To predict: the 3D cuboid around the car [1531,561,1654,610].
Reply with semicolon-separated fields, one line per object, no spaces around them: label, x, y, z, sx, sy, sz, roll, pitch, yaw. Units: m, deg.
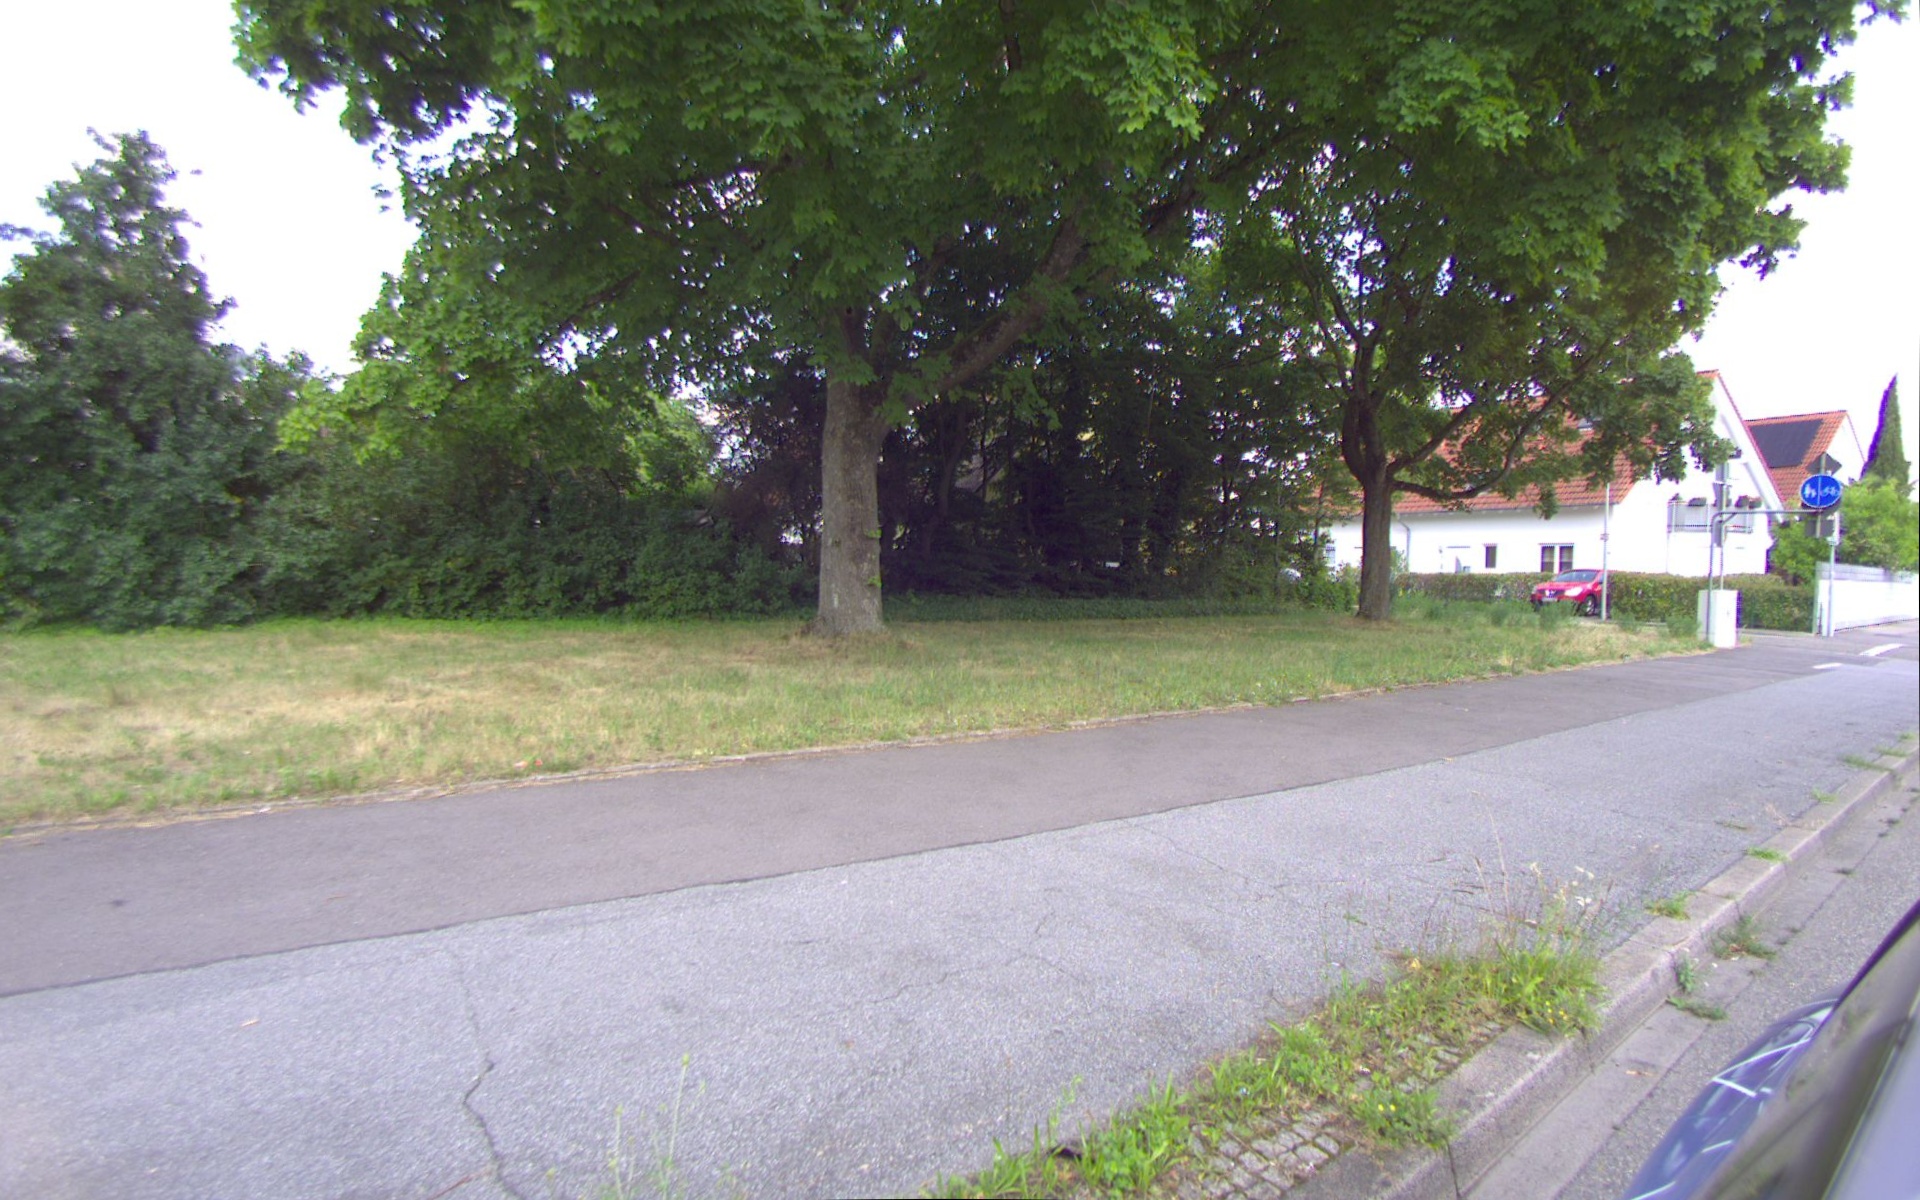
car;21.344;-0.476;34.114;4.305;1.549;1.684;0;2;-30
